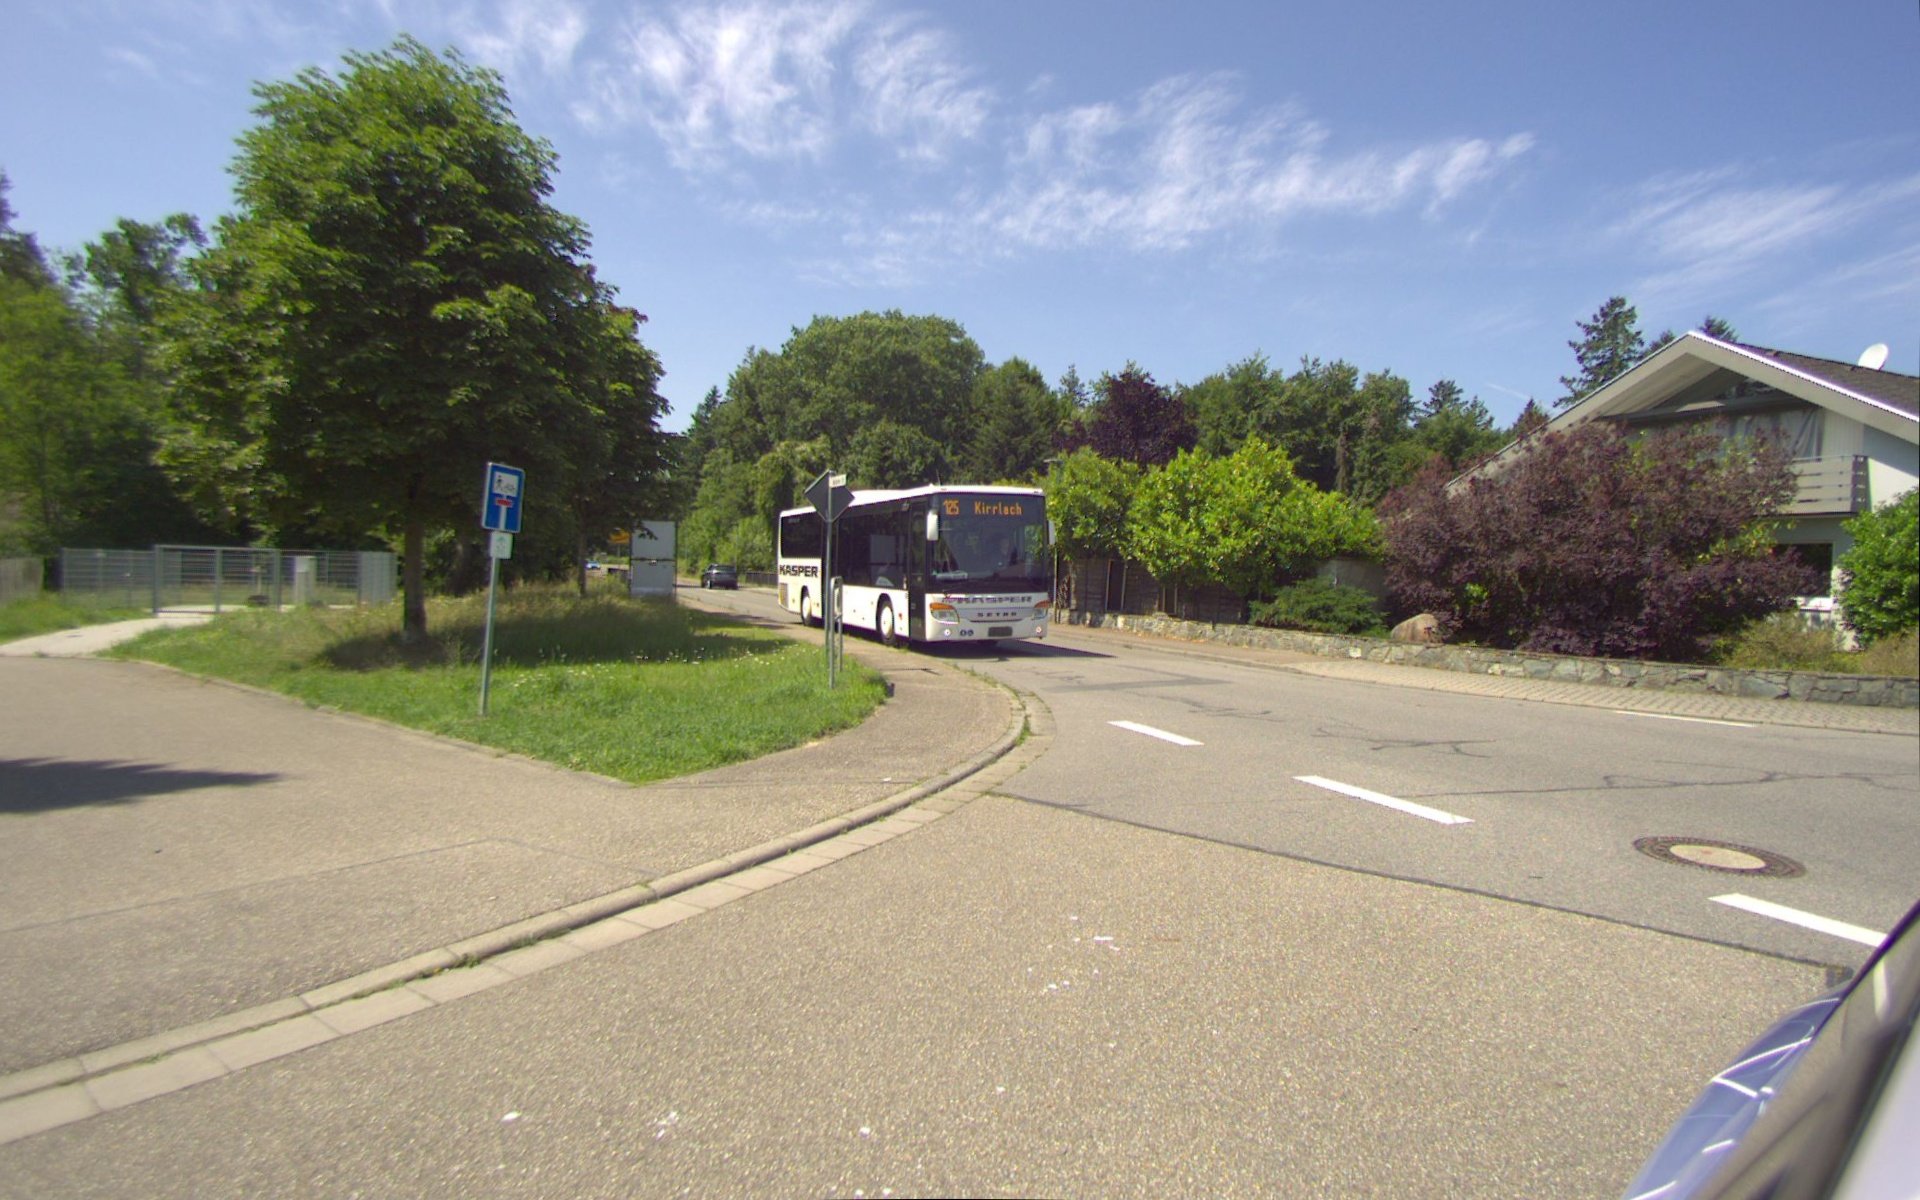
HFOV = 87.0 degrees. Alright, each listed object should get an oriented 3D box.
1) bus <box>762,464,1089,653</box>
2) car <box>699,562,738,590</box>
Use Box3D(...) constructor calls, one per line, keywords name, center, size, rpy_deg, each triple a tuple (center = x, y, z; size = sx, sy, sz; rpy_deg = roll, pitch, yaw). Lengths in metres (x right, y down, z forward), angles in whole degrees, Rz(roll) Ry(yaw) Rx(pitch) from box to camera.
Box3D(name="bus", center=(-1.658, -0.914, 24.003), size=(3.125, 3.284, 12.738), rpy_deg=(1, 2, -24))
Box3D(name="car", center=(-15.166, -1.493, 63.348), size=(1.731, 1.638, 4.008), rpy_deg=(2, 0, -22))
